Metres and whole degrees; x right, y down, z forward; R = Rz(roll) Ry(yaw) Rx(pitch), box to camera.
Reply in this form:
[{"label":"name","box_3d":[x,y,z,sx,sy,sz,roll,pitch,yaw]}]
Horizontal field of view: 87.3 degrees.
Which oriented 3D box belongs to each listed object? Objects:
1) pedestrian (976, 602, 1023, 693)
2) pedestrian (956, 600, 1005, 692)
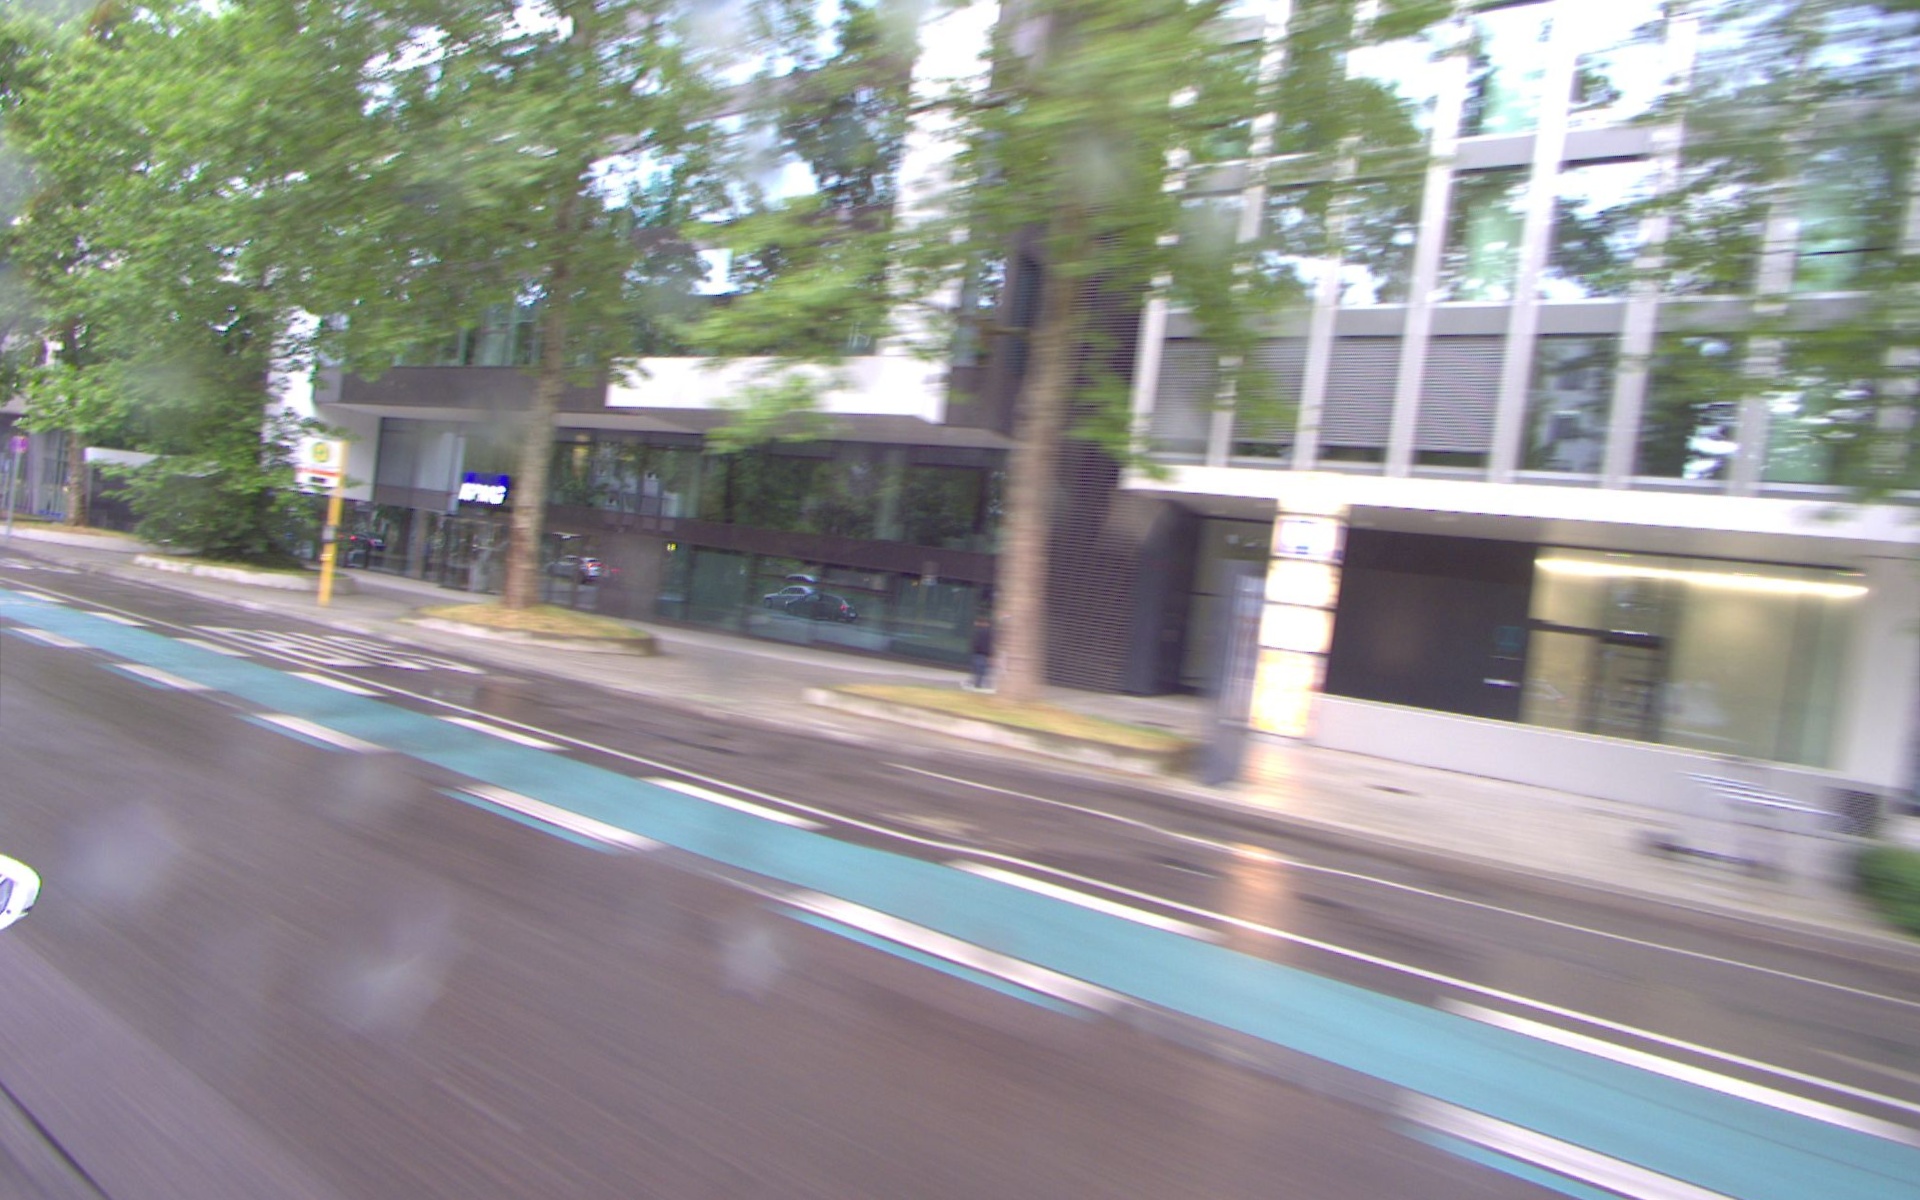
[{"label":"pedestrian","box_3d":[0.842,1.024,21.584,0.597,1.877,0.563,7,0,29]},{"label":"pedestrian","box_3d":[0.423,0.965,20.799,0.597,1.816,0.563,7,0,29]}]
